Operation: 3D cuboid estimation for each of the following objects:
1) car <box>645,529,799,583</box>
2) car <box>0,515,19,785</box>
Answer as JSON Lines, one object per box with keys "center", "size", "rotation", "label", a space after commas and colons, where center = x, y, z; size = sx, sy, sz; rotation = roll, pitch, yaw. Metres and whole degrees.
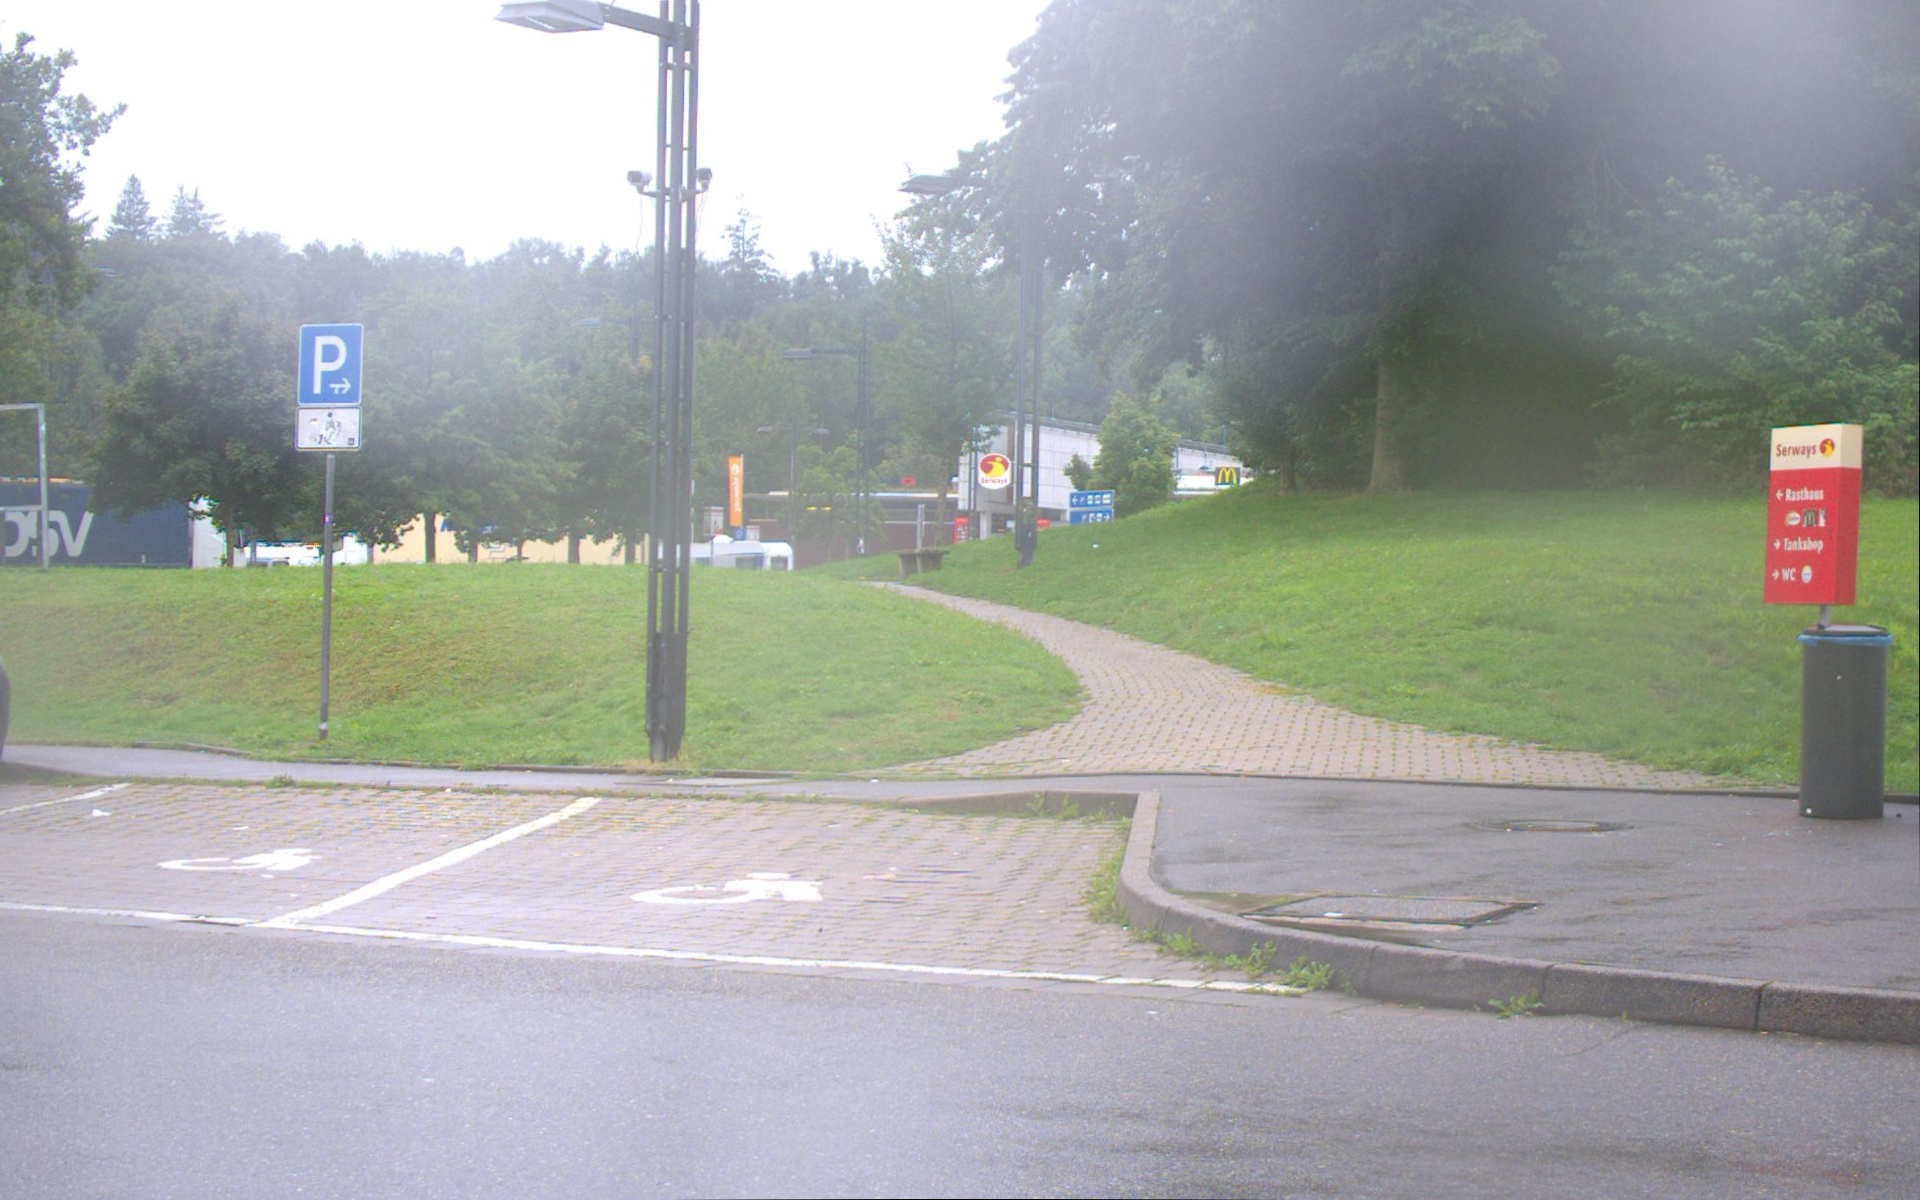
{"center": [-9.264, -1.729, 133.764], "size": [5.429, 2.007, 2.453], "rotation": [1, 1, 20], "label": "car"}
{"center": [-7.768, 0.374, 21.436], "size": [1.885, 1.821, 4.411], "rotation": [0, 1, 11], "label": "car"}
